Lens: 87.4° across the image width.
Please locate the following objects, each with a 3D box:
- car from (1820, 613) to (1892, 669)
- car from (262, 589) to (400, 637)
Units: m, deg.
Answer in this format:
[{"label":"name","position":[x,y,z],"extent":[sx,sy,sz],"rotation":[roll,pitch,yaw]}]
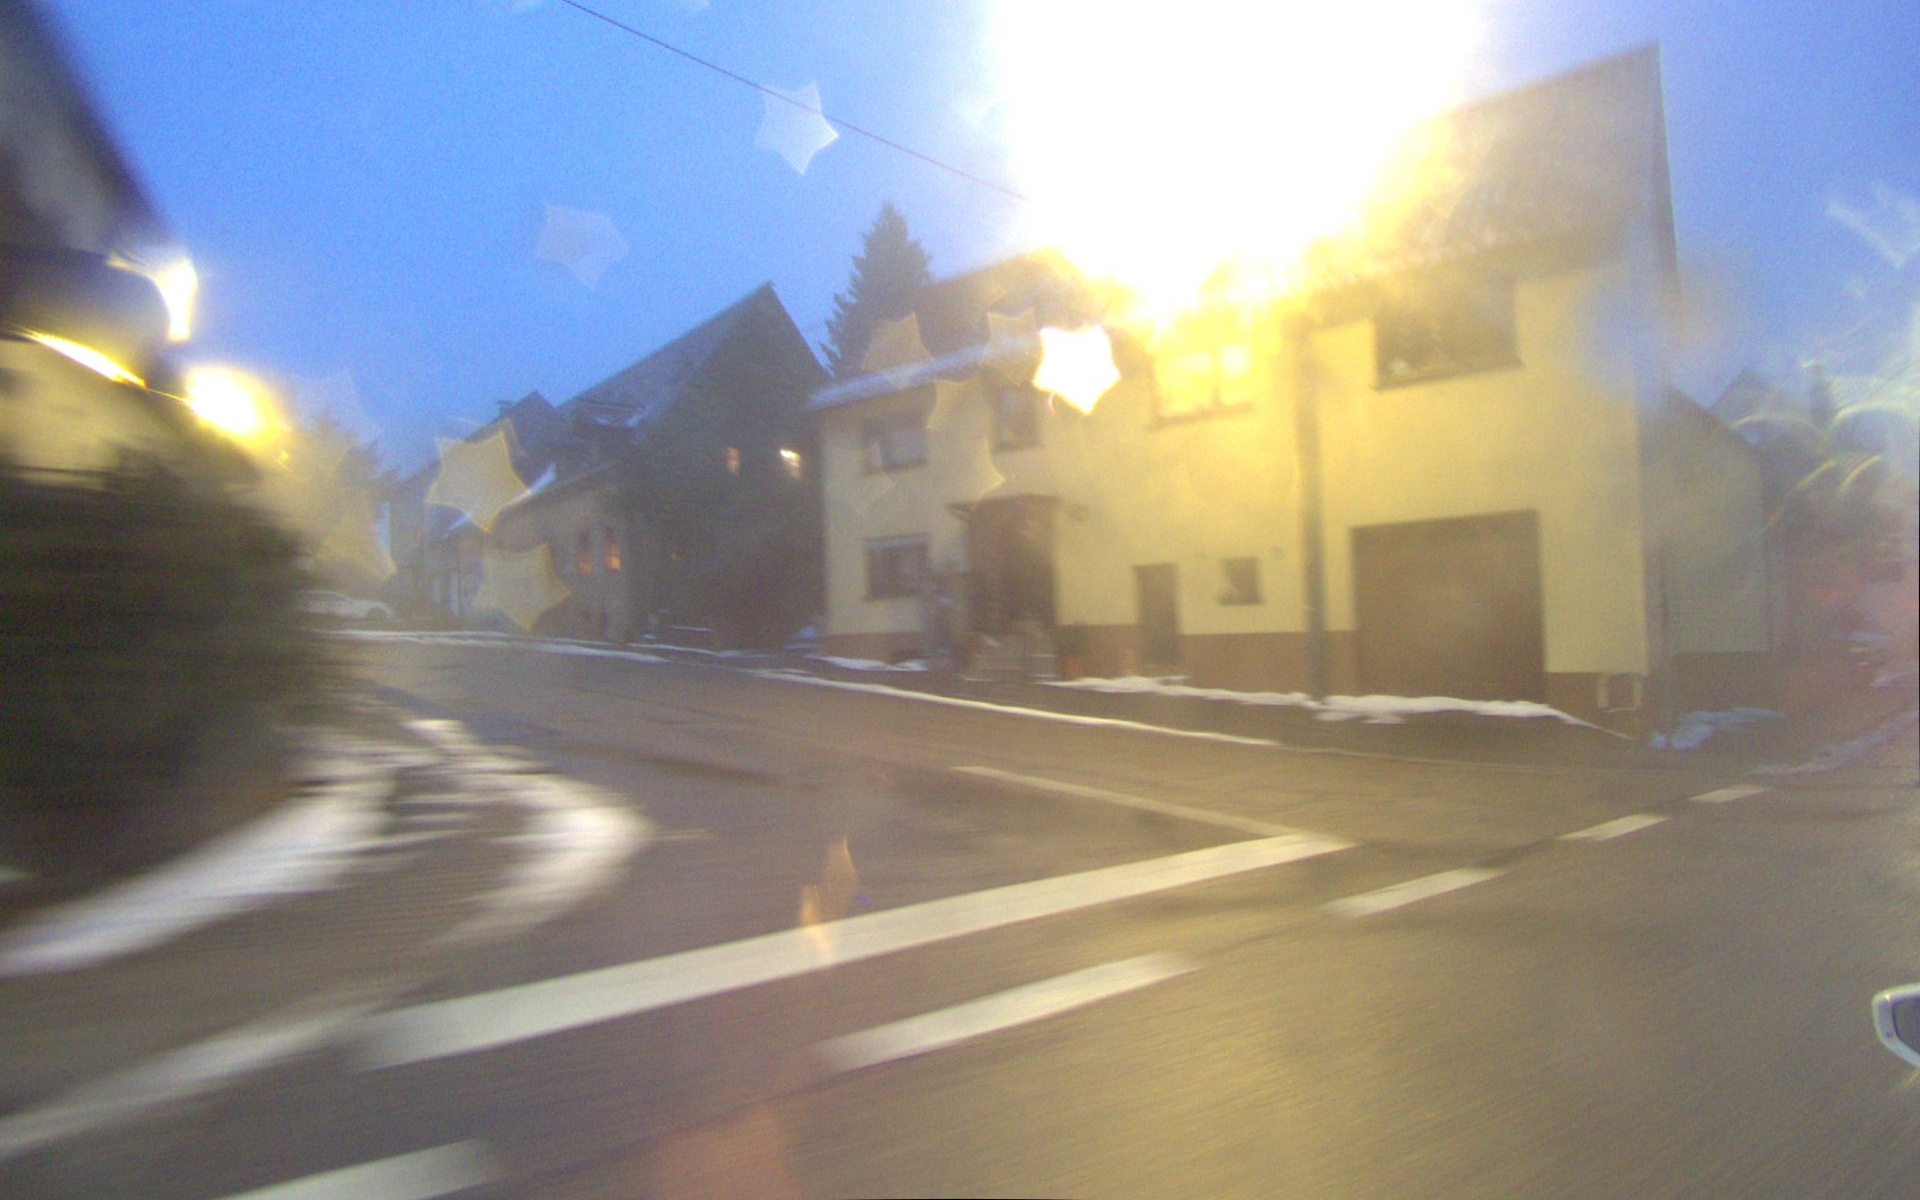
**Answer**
[{"label":"car","position":[31.672,1.478,35.552],"extent":[1.744,1.759,4.616],"rotation":[4,0,41]},{"label":"car","position":[-26.486,0.500,42.378],"extent":[4.638,1.829,1.974],"rotation":[-2,2,-44]}]
